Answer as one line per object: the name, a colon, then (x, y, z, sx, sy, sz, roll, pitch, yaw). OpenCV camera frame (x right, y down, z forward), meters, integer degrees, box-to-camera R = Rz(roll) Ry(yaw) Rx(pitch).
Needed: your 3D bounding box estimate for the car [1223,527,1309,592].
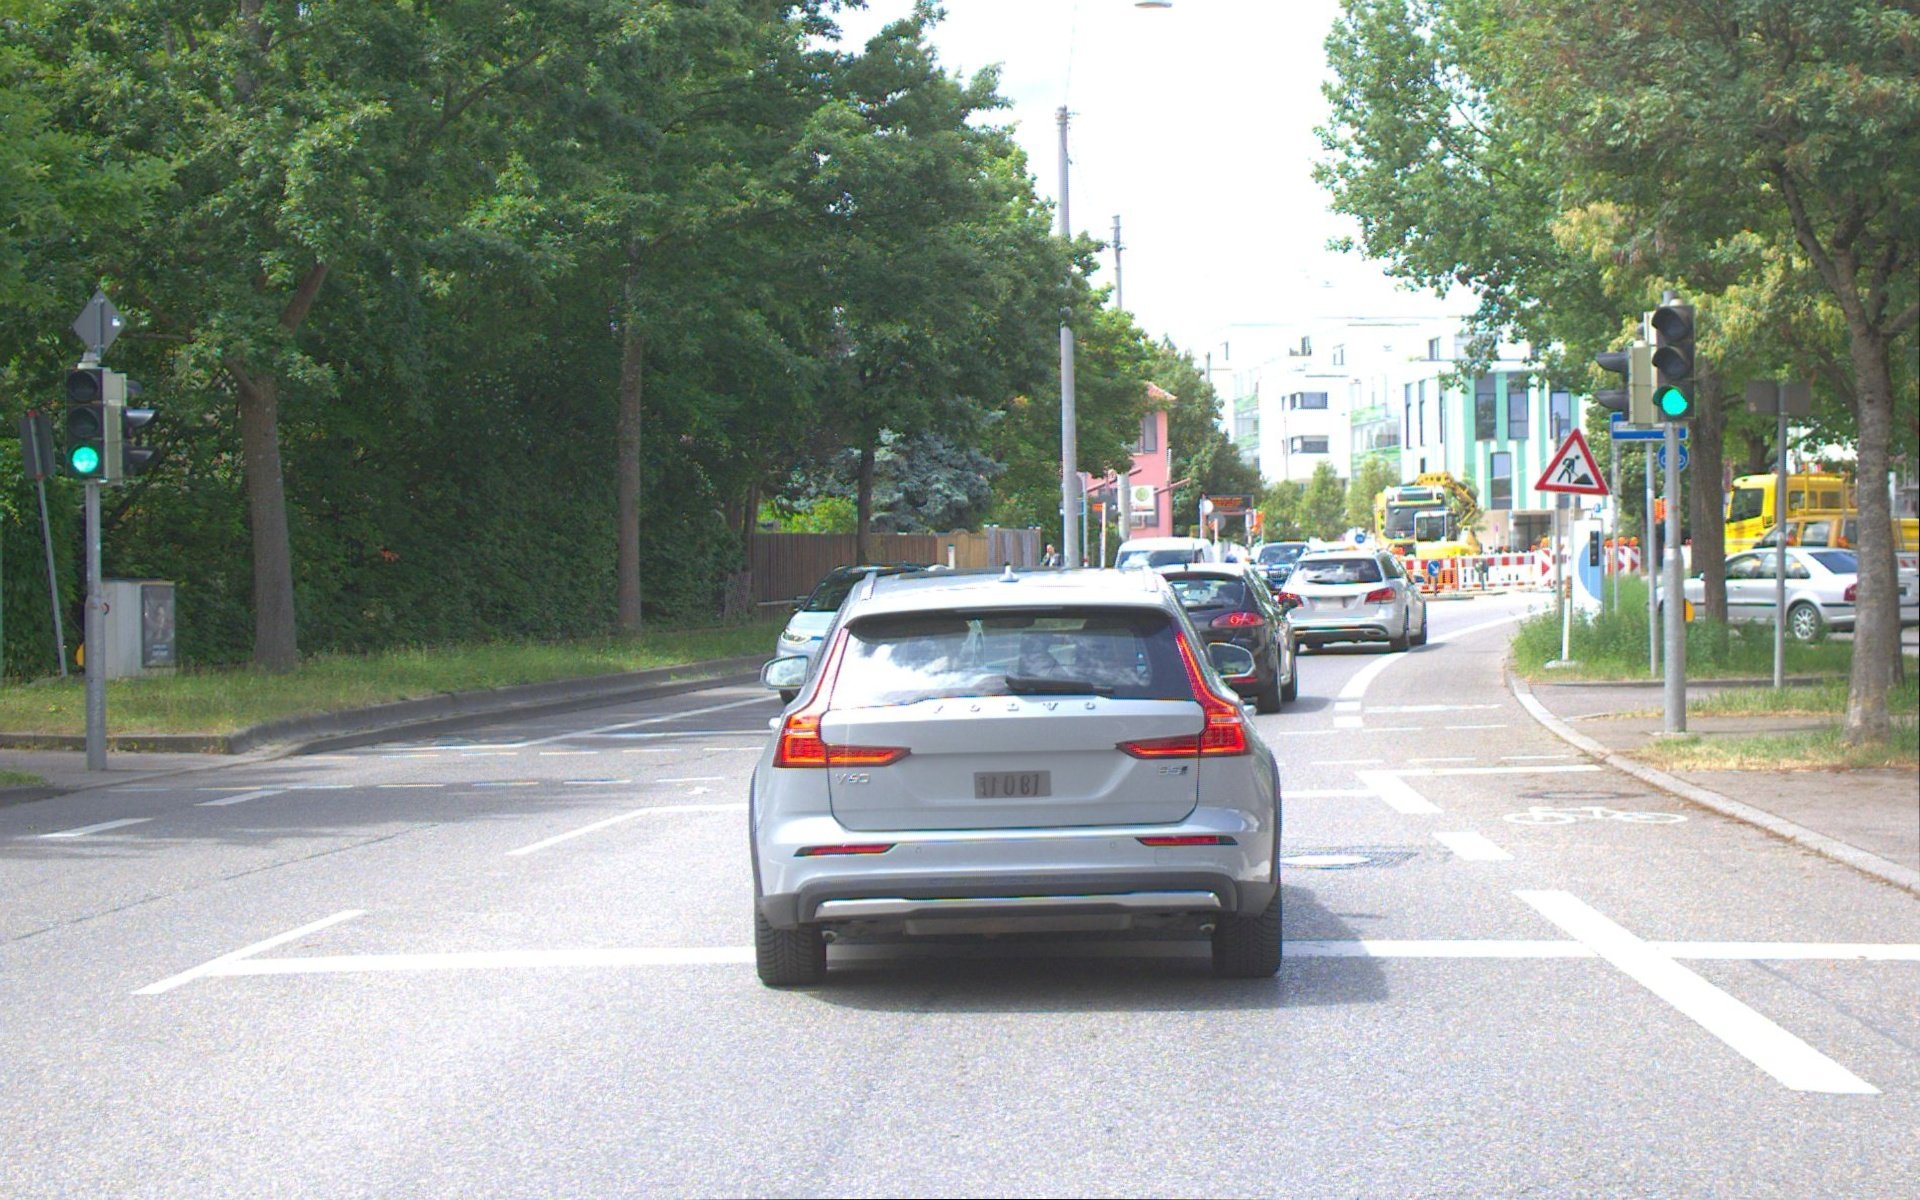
car: (8.441, -1.115, 94.510, 1.881, 1.681, 4.245, -2, 0, 11)

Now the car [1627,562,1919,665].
car: (12.409, 0.165, 52.091, 1.762, 1.447, 4.689, 0, 1, -33)

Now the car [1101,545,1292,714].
car: (2.273, 0.276, 33.777, 1.661, 1.503, 3.702, 2, 0, 2)

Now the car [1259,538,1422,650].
car: (5.623, -0.077, 50.434, 2.103, 1.505, 3.998, 2, 0, 10)

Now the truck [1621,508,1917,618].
truck: (15.628, -0.734, 66.774, 1.994, 2.007, 5.677, 2, 0, -35)

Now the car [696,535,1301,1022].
car: (0.231, 0.578, 13.185, 1.928, 1.535, 4.000, -2, 0, 3)

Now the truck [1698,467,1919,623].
truck: (18.218, -1.062, 68.509, 2.761, 2.998, 6.706, 2, 0, -35)

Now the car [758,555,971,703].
car: (-1.047, 0.320, 39.695, 1.899, 1.574, 3.999, -2, 0, 6)

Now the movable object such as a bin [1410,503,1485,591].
movable object such as a bin: (15.190, -1.659, 106.944, 2.035, 2.634, 5.937, -1, 1, 10)

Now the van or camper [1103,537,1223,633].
van or camper: (3.914, -0.312, 65.718, 1.861, 1.770, 4.379, 0, 1, 9)

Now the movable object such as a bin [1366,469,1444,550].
movable object such as a bin: (16.846, -3.398, 130.385, 2.310, 2.980, 6.426, -1, 1, 2)
